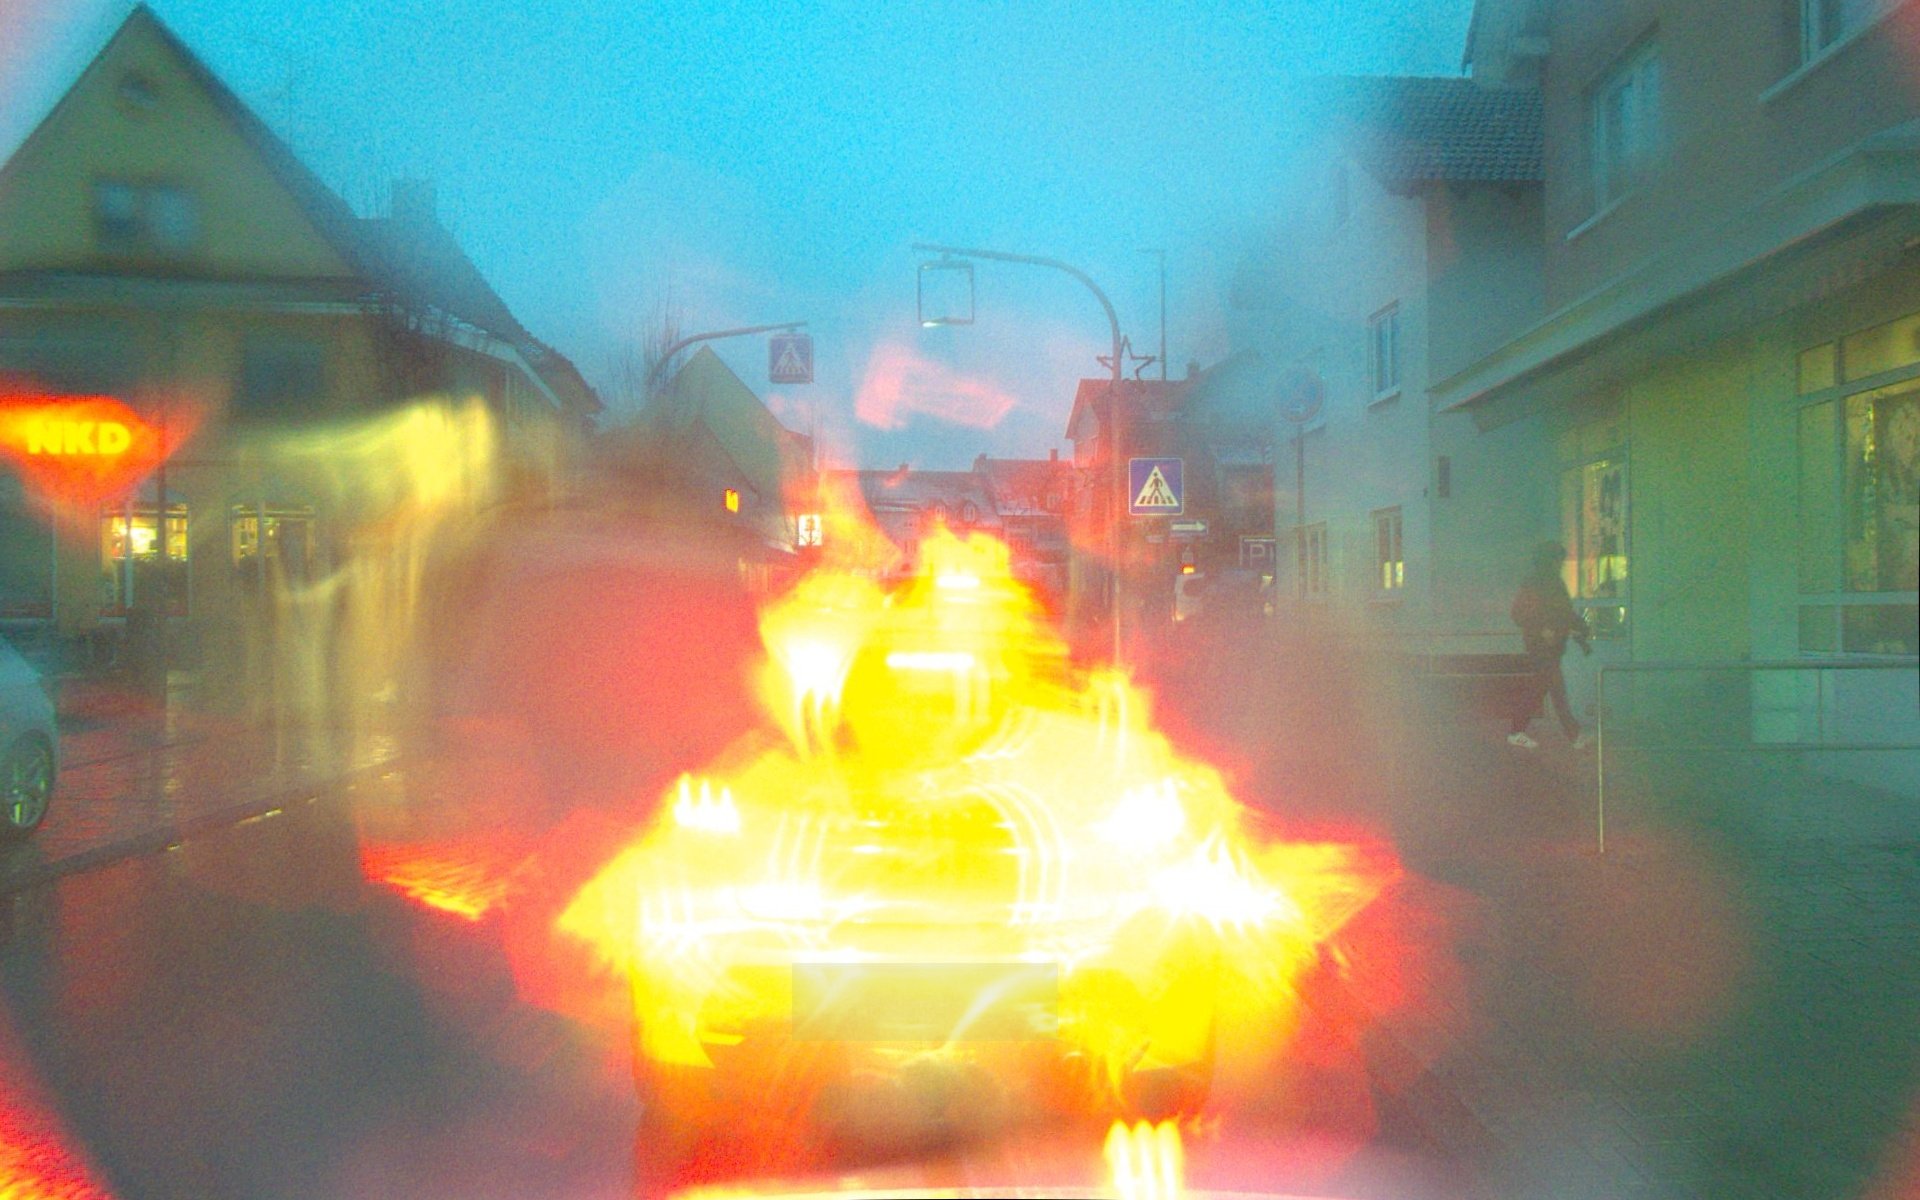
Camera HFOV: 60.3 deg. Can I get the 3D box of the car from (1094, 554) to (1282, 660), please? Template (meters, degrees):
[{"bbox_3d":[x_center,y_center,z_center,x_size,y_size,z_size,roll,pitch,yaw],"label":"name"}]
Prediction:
[{"bbox_3d":[4.586,0.146,33.623,3.620,2.049,1.690,1,-1,2],"label":"car"}]

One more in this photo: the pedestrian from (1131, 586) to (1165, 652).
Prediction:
[{"bbox_3d":[5.928,0.586,52.224,0.995,2.049,1.276,0,0,4],"label":"pedestrian"}]

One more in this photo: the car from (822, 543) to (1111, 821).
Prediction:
[{"bbox_3d":[0.064,0.511,12.182,1.761,1.691,4.000,1,0,1],"label":"car"}]

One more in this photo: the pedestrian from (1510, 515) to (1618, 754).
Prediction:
[{"bbox_3d":[5.014,0.282,13.764,0.649,1.921,0.824,1,-1,6],"label":"pedestrian"}]

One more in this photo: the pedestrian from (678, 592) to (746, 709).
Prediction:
[{"bbox_3d":[-3.880,0.783,25.928,0.954,1.773,0.960,1,1,-5],"label":"pedestrian"}]

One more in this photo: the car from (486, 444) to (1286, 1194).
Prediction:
[{"bbox_3d":[-0.101,0.507,6.377,1.952,1.827,4.650,0,1,2],"label":"car"}]

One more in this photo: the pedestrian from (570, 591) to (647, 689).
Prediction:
[{"bbox_3d":[-5.574,0.634,26.240,0.872,1.442,0.776,6,-1,4],"label":"pedestrian"}]

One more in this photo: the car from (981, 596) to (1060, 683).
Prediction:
[{"bbox_3d":[1.502,0.958,42.325,1.609,2.049,3.998,-2,1,-3],"label":"car"}]

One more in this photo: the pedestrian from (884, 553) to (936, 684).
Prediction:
[{"bbox_3d":[-0.743,0.267,24.485,0.689,1.909,0.616,1,1,-7],"label":"pedestrian"}]

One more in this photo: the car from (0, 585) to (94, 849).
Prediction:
[{"bbox_3d":[-6.413,0.669,8.675,1.636,1.543,3.999,2,0,-1],"label":"car"}]

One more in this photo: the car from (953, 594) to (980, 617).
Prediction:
[{"bbox_3d":[0.432,0.344,104.902,1.503,1.266,3.648,-5,1,1],"label":"car"}]

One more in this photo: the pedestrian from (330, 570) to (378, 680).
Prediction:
[{"bbox_3d":[-9.858,0.402,26.926,0.576,1.773,0.683,0,0,-5],"label":"pedestrian"}]

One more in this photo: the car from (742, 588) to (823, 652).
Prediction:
[{"bbox_3d":[-5.119,0.546,48.211,1.953,1.783,4.360,0,0,-1],"label":"car"}]

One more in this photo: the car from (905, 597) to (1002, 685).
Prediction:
[{"bbox_3d":[-0.063,0.749,32.824,1.789,1.629,4.582,0,0,1],"label":"car"}]

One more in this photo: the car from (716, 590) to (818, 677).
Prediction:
[{"bbox_3d":[-4.748,0.789,41.303,1.952,2.049,4.362,0,0,1],"label":"car"}]
